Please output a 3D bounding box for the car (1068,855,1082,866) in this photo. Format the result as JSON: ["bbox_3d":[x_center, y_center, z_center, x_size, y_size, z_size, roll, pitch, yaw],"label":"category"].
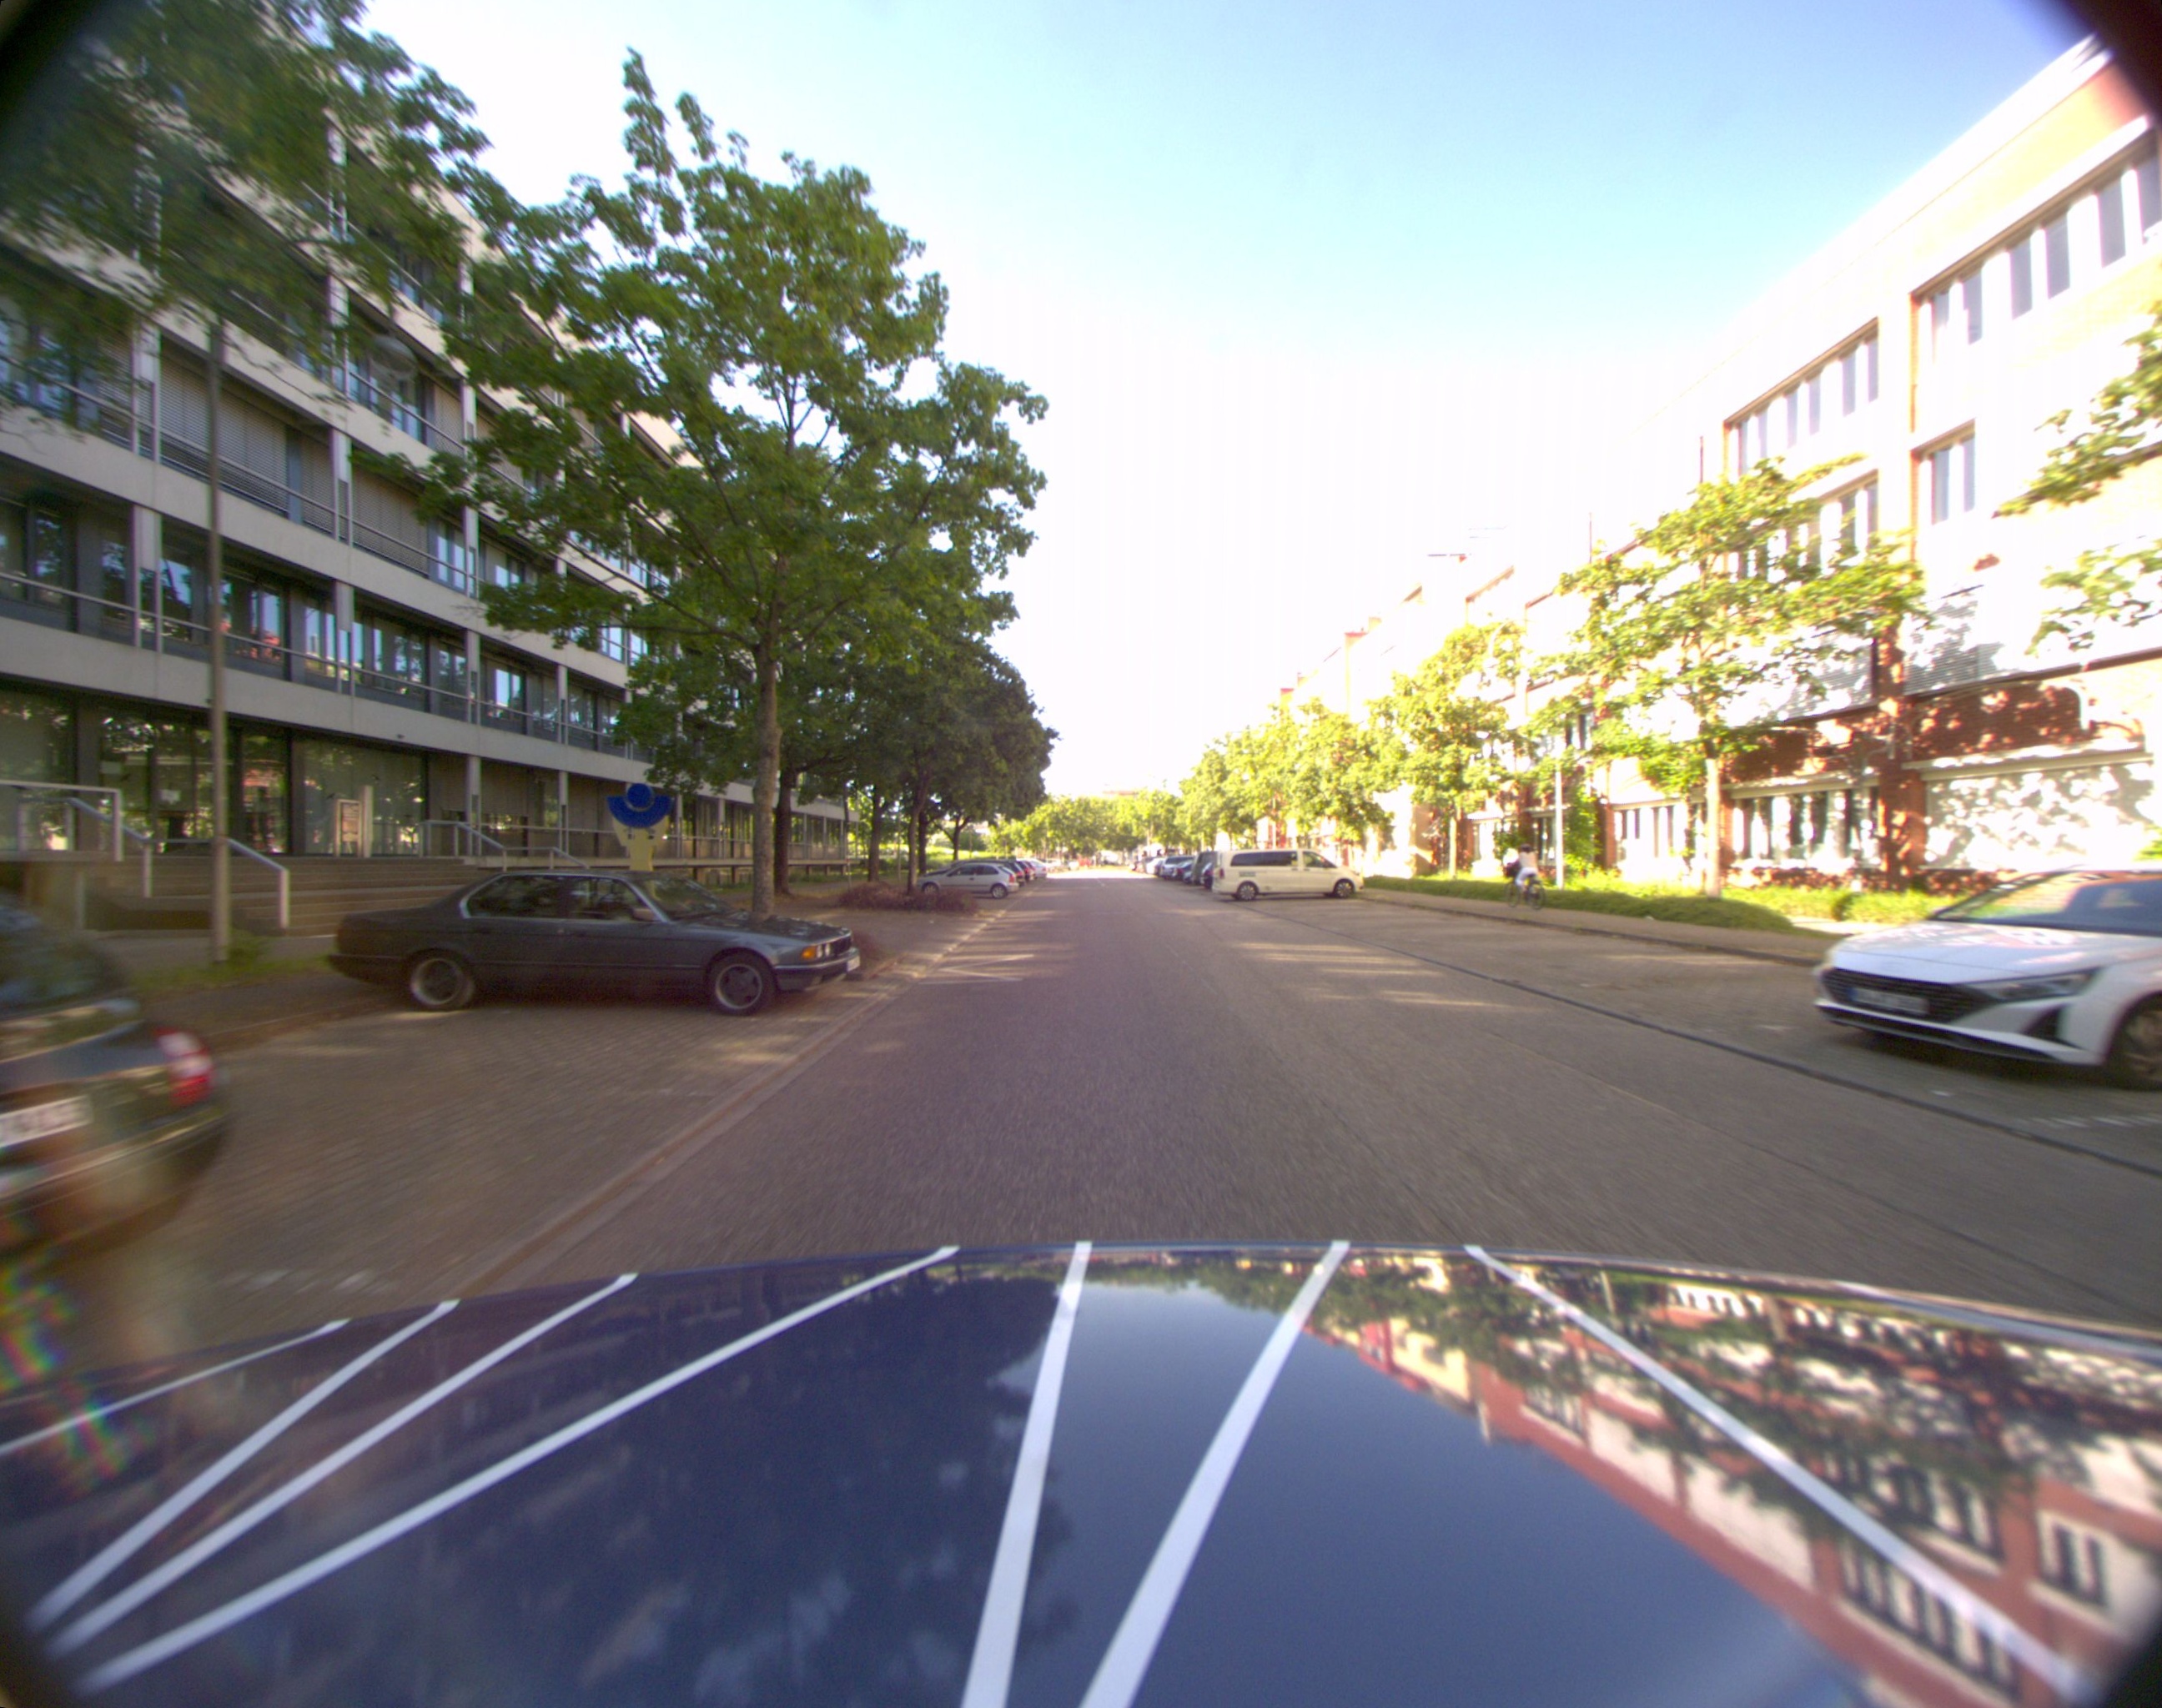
[{"bbox_3d":[-0.926,0.997,117.018,1.646,1.485,3.768,3,0,8],"label":"car"}]

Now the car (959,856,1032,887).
[{"bbox_3d":[-4.532,0.917,40.474,3.754,1.484,1.616,2,0,-4],"label":"car"}]

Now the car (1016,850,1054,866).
[{"bbox_3d":[-4.998,0.425,82.920,3.957,1.506,1.701,2,1,1],"label":"car"}]

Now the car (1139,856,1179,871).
[{"bbox_3d":[7.982,0.950,77.771,3.901,1.415,1.739,-2,0,0],"label":"car"}]

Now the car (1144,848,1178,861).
[{"bbox_3d":[12.034,0.061,114.084,4.776,1.973,1.996,-1,-1,-23],"label":"car"}]

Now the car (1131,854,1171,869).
[{"bbox_3d":[7.601,0.788,82.431,4.272,1.415,1.740,-2,0,4],"label":"car"}]

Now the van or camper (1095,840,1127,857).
[{"bbox_3d":[5.973,-1.101,152.849,5.991,2.967,2.673,3,1,11],"label":"van or camper"}]

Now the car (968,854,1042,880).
[{"bbox_3d":[-4.947,0.837,49.704,4.525,1.533,1.922,2,0,4],"label":"car"}]

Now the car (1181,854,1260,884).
[{"bbox_3d":[7.804,0.816,42.786,4.142,1.519,1.725,-2,0,0],"label":"car"}]

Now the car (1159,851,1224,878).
[{"bbox_3d":[7.637,0.704,52.833,4.330,1.707,1.963,-2,0,5],"label":"car"}]

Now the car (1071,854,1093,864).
[{"bbox_3d":[0.159,0.871,130.484,3.438,1.535,1.629,3,1,13],"label":"car"}]

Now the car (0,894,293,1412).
[{"bbox_3d":[-5.106,0.903,2.242,3.650,1.506,1.812,2,0,0],"label":"car"}]

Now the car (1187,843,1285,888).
[{"bbox_3d":[7.738,0.568,38.173,4.498,2.077,2.083,-2,0,2],"label":"car"}]

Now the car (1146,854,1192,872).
[{"bbox_3d":[7.820,0.777,67.844,3.736,1.438,1.875,-2,0,-3],"label":"car"}]

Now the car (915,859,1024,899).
[{"bbox_3d":[-4.338,0.967,29.931,3.980,1.411,1.710,2,0,0],"label":"car"}]

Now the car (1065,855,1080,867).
[{"bbox_3d":[-1.192,0.971,108.682,1.813,1.485,4.625,3,0,3],"label":"car"}]

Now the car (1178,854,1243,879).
[{"bbox_3d":[8.100,0.792,47.834,3.736,1.419,1.725,-2,0,-1],"label":"car"}]

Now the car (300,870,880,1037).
[{"bbox_3d":[-4.843,0.963,8.139,4.838,1.411,2.031,2,0,-2],"label":"car"}]

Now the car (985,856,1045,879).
[{"bbox_3d":[-4.515,0.907,52.396,3.846,1.438,1.922,2,0,4],"label":"car"}]

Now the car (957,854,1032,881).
[{"bbox_3d":[-5.320,0.845,47.115,4.528,1.533,1.921,2,0,-4],"label":"car"}]

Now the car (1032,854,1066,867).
[{"bbox_3d":[-4.216,0.888,99.944,4.096,1.421,1.643,4,1,7],"label":"car"}]

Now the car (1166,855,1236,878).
[{"bbox_3d":[7.920,0.829,50.466,4.332,1.350,1.757,-2,0,-1],"label":"car"}]

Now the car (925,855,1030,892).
[{"bbox_3d":[-4.709,0.894,35.087,4.604,1.484,1.762,2,0,-2],"label":"car"}]

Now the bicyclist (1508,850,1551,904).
[{"bbox_3d":[11.443,0.572,19.400,0.607,1.345,0.913,0,0,4],"label":"bicyclist"}]

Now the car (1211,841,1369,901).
[{"bbox_3d":[7.568,0.615,27.902,5.270,1.955,1.943,-2,0,2],"label":"car"}]

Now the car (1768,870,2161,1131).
[{"bbox_3d":[7.790,0.901,5.515,3.997,1.477,1.806,-1,0,-1],"label":"car"}]

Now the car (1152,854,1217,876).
[{"bbox_3d":[7.441,0.809,55.095,4.414,1.419,1.772,-2,0,-2],"label":"car"}]

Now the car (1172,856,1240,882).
[{"bbox_3d":[7.431,0.858,45.291,3.736,1.419,1.725,-2,0,0],"label":"car"}]

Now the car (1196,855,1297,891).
[{"bbox_3d":[7.643,0.870,35.430,4.331,1.469,1.943,-2,0,2],"label":"car"}]

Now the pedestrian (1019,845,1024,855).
[{"bbox_3d":[-9.300,-0.572,119.125,0.608,1.533,0.937,0,0,6],"label":"pedestrian"}]

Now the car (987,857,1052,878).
[{"bbox_3d":[-4.419,0.964,55.085,4.589,1.467,1.747,0,0,0],"label":"car"}]

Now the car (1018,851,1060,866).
[{"bbox_3d":[-4.771,0.506,85.604,4.563,1.506,1.981,2,1,-6],"label":"car"}]

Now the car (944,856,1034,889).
[{"bbox_3d":[-4.558,0.917,38.097,4.297,1.484,2.003,2,0,-2],"label":"car"}]

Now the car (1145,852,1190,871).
[{"bbox_3d":[8.028,0.693,70.527,3.902,1.565,1.859,-2,0,-1],"label":"car"}]

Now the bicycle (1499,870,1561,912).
[{"bbox_3d":[11.453,0.926,19.439,0.607,0.976,1.864,0,0,4],"label":"bicycle"}]

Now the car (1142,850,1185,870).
[{"bbox_3d":[7.936,0.546,73.021,3.901,1.800,1.786,-2,0,0],"label":"car"}]
